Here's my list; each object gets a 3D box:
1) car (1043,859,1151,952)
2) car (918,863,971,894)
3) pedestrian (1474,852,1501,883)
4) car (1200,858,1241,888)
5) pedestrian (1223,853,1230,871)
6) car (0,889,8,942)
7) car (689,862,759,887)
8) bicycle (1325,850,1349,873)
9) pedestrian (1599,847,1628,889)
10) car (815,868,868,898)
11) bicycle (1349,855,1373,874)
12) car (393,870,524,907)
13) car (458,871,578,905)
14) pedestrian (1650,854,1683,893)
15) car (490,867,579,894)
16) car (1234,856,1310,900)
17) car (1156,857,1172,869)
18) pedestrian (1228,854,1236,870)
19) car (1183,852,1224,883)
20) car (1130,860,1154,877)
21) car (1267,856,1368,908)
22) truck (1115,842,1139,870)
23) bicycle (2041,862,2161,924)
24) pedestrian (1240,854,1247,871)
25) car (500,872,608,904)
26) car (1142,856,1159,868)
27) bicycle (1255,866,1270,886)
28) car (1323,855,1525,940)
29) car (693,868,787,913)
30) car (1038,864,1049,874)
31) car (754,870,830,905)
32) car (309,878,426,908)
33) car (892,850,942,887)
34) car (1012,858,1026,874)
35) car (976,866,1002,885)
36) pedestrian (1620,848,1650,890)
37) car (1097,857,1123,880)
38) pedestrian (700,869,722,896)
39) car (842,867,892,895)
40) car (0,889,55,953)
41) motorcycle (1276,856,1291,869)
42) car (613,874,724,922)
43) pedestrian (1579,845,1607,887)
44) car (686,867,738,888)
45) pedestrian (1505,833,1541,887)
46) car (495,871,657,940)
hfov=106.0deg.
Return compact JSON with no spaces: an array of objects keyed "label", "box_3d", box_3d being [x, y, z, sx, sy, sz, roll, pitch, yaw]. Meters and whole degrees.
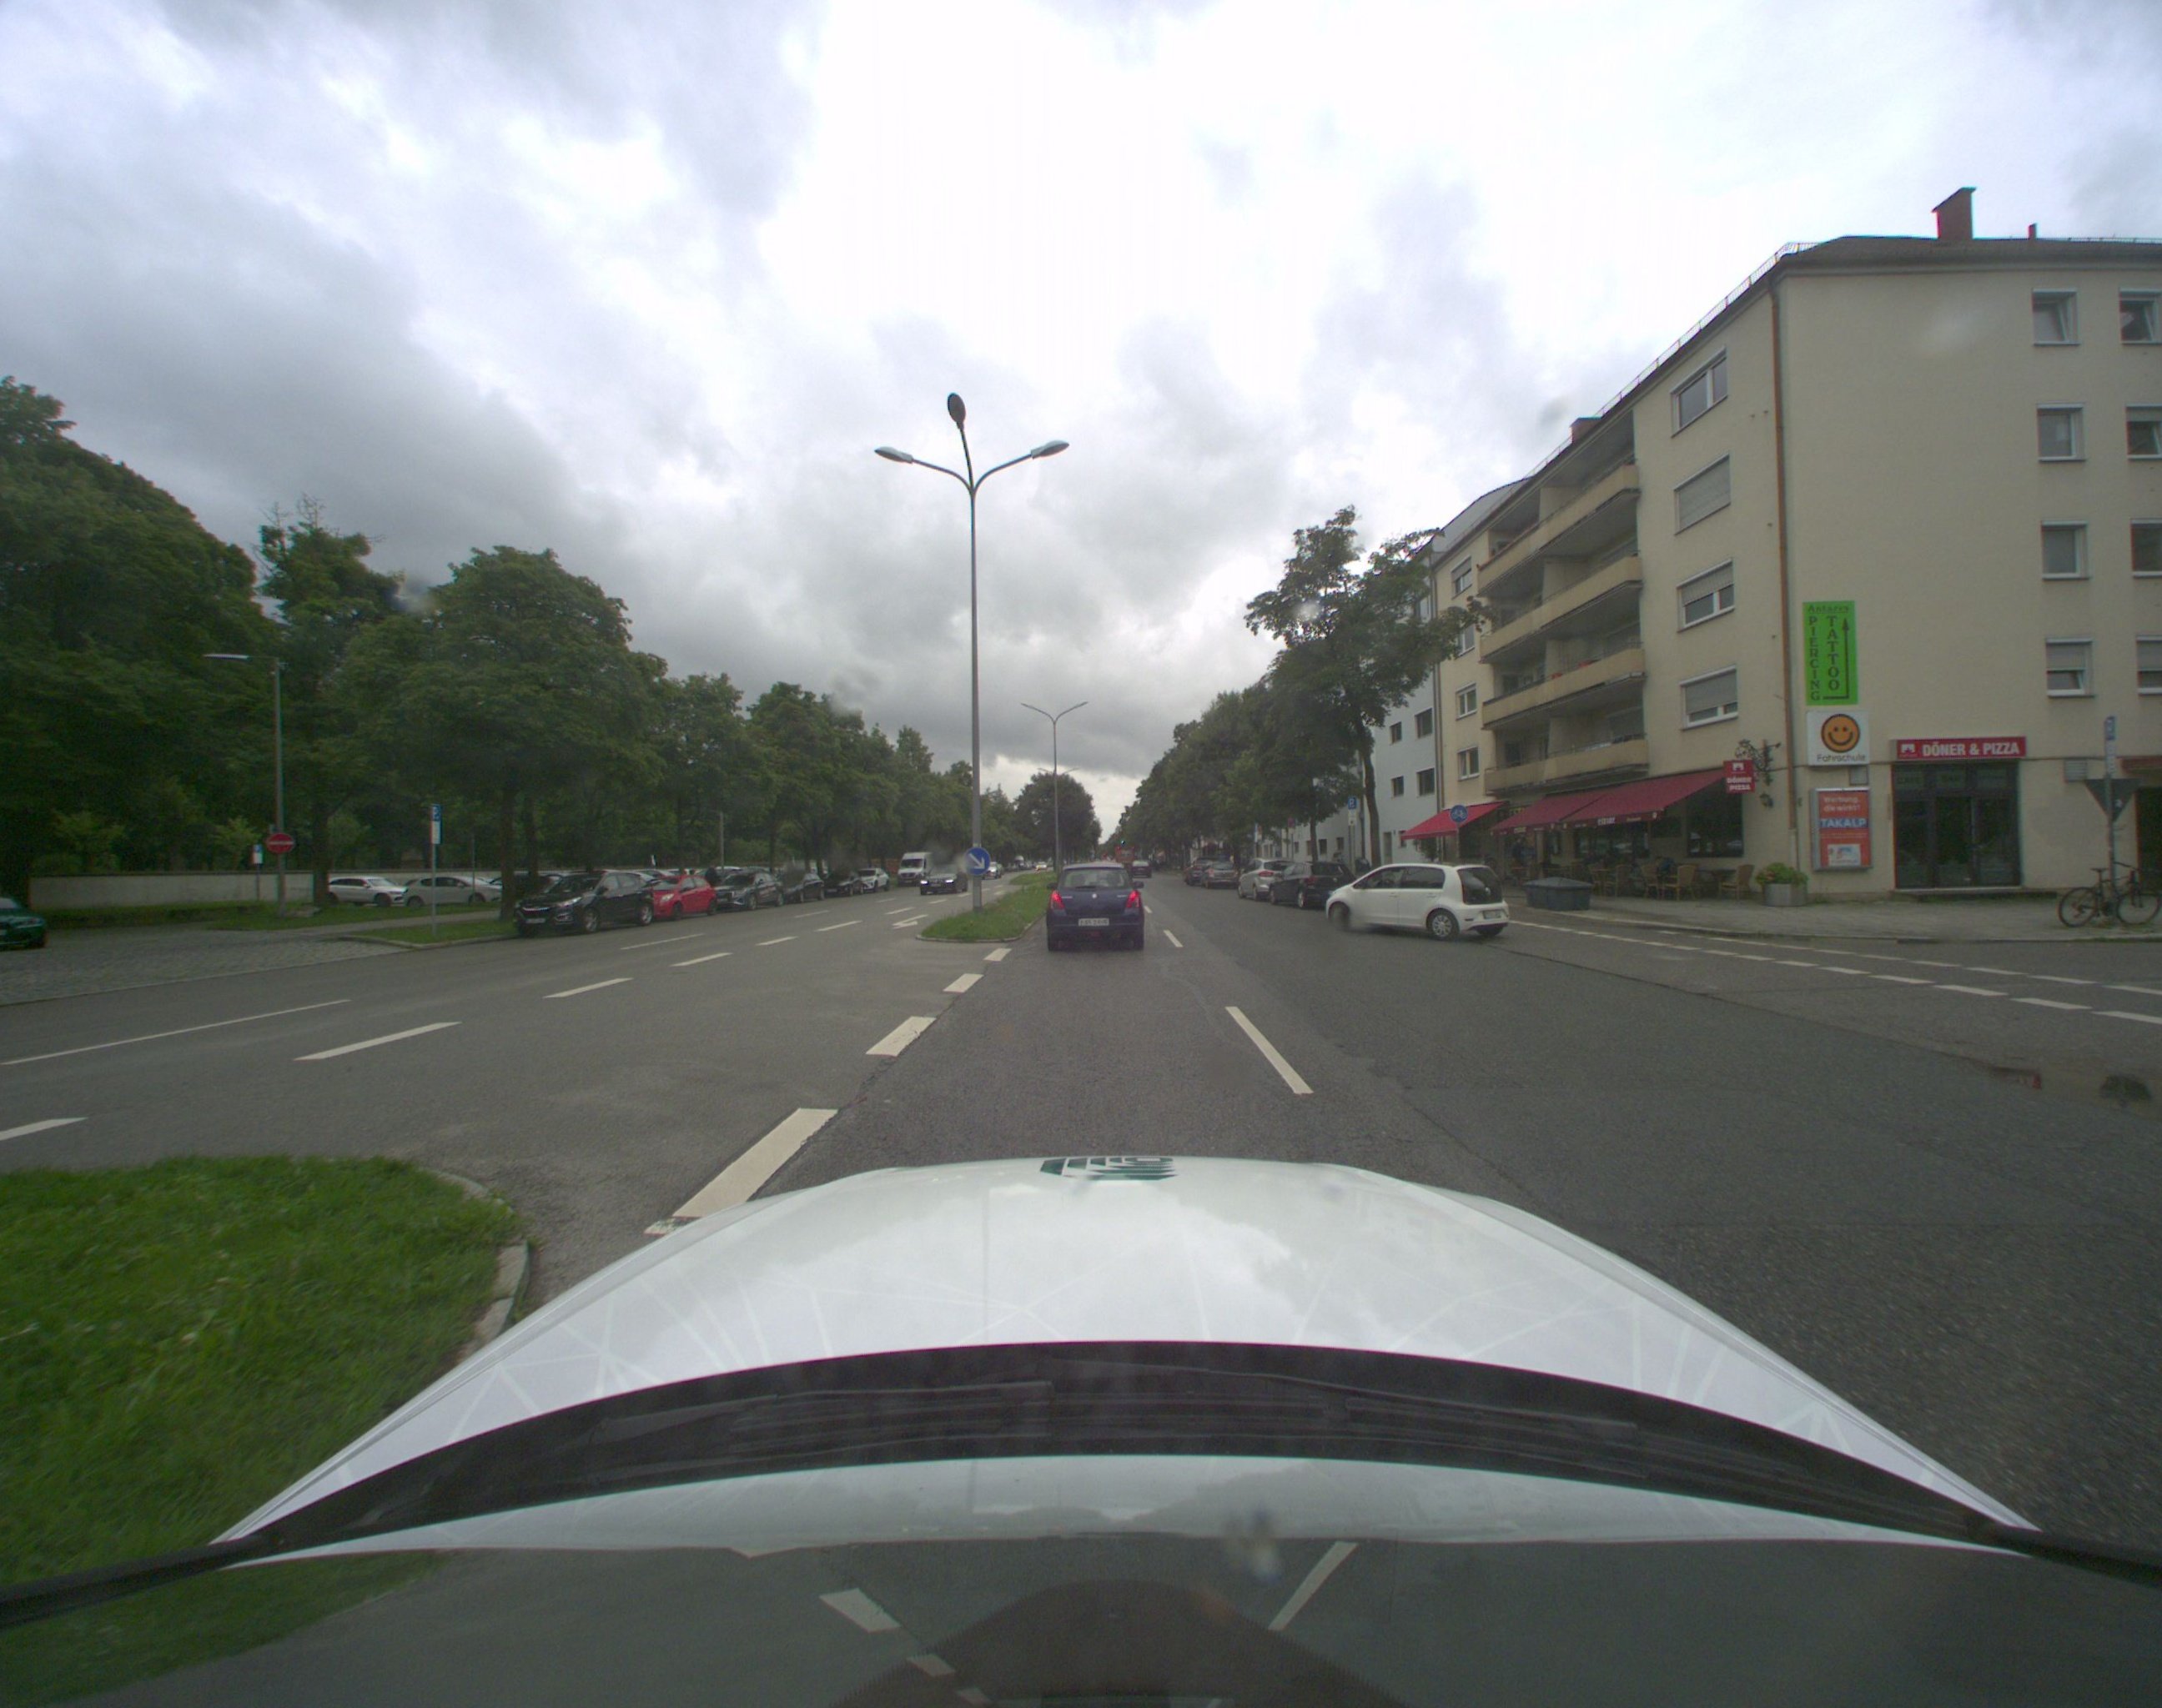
[{"label":"car","box_3d":[0.350,0.859,15.419,1.746,1.505,4.002,-1,0,2]},{"label":"car","box_3d":[-6.976,1.215,42.154,1.809,1.448,4.782,-2,0,1]},{"label":"pedestrian","box_3d":[15.929,0.525,31.941,0.741,1.163,0.647,-1,-1,1]},{"label":"car","box_3d":[7.421,0.997,43.598,1.821,1.522,3.775,-1,0,5]},{"label":"pedestrian","box_3d":[14.419,0.766,80.806,0.498,1.733,0.733,-1,-1,2]},{"label":"car","box_3d":[-31.367,1.701,22.375,4.411,1.409,1.871,-1,-1,32]},{"label":"car","box_3d":[-24.614,1.408,56.235,3.970,1.570,1.816,-2,-1,3]},{"label":"bicycle","box_3d":[16.464,0.461,52.389,0.700,1.407,2.594,-3,-1,2]},{"label":"pedestrian","box_3d":[16.336,0.414,25.001,0.536,1.268,0.487,-1,-1,0]},{"label":"car","box_3d":[-13.068,1.564,44.675,1.817,1.447,3.996,-3,0,-3]},{"label":"bicycle","box_3d":[16.445,0.611,47.874,0.619,1.046,2.196,-5,-1,2]},{"label":"car","box_3d":[-26.625,1.452,34.939,3.979,1.442,1.997,-1,0,-4]},{"label":"car","box_3d":[-26.157,1.557,37.962,4.123,1.442,1.999,-1,0,-1]},{"label":"pedestrian","box_3d":[16.131,0.529,22.453,0.536,1.054,0.487,-1,-1,1]},{"label":"car","box_3d":[-36.291,1.749,54.162,4.490,1.625,2.000,-1,-1,0]},{"label":"car","box_3d":[7.158,0.859,30.954,1.823,1.522,4.523,-1,0,0]},{"label":"car","box_3d":[11.780,1.328,116.245,1.986,1.643,4.334,-1,0,2]},{"label":"pedestrian","box_3d":[14.995,0.797,80.807,0.547,1.629,0.641,-3,-1,1]},{"label":"car","box_3d":[7.260,0.781,48.667,1.823,1.746,4.508,-1,0,0]},{"label":"car","box_3d":[5.284,1.236,71.130,1.815,1.477,4.692,1,0,1]},{"label":"car","box_3d":[7.305,0.816,25.541,1.825,1.473,3.883,-1,0,-3]},{"label":"truck","box_3d":[6.299,0.319,113.636,3.029,3.557,13.682,-1,0,2]},{"label":"bicycle","box_3d":[17.518,0.656,13.881,1.532,1.011,0.554,-1,-1,4]},{"label":"pedestrian","box_3d":[16.189,0.855,81.151,0.539,1.640,0.725,-1,-1,1]},{"label":"car","box_3d":[-26.131,1.681,40.520,3.979,1.442,1.997,-1,0,-4]},{"label":"car","box_3d":[9.244,1.082,108.693,1.986,1.452,4.002,-1,0,2]},{"label":"bicycle","box_3d":[9.271,1.114,41.636,0.384,0.947,1.675,-1,0,2]},{"label":"car","box_3d":[6.782,0.803,16.419,1.698,1.490,3.401,-1,-1,-31]},{"label":"car","box_3d":[-13.523,1.414,32.576,1.814,1.599,4.116,-2,-1,3]},{"label":"car","box_3d":[-6.616,2.663,144.333,1.756,1.537,4.312,-4,0,-1]},{"label":"car","box_3d":[-13.405,1.519,38.016,1.813,1.409,4.004,-3,-1,4]},{"label":"car","box_3d":[-38.322,2.101,43.817,4.490,1.442,2.000,-1,0,0]},{"label":"car","box_3d":[-12.721,1.079,63.807,2.132,2.643,7.108,-3,0,2]},{"label":"car","box_3d":[-11.874,2.287,156.397,2.179,2.954,6.189,-1,-1,-1]},{"label":"car","box_3d":[-8.920,2.047,79.246,1.844,1.600,4.404,-3,0,2]},{"label":"pedestrian","box_3d":[16.342,0.429,24.013,0.536,1.214,0.487,-1,-1,1]},{"label":"car","box_3d":[2.003,1.003,56.734,1.712,1.501,4.301,-1,0,1]},{"label":"pedestrian","box_3d":[-20.737,1.579,45.620,0.792,1.495,0.856,-2,-1,2]},{"label":"car","box_3d":[-13.058,1.621,49.888,1.815,1.528,4.298,-3,-1,0]},{"label":"car","box_3d":[-26.350,1.590,19.441,3.809,1.409,1.871,-1,-1,32]},{"label":"motorcycle","box_3d":[16.721,0.709,67.270,0.758,1.086,2.200,-2,0,2]},{"label":"car","box_3d":[-13.969,1.437,27.820,1.815,1.479,3.809,-1,-1,0]},{"label":"pedestrian","box_3d":[16.476,0.392,26.218,0.536,1.339,0.552,-1,-1,0]},{"label":"car","box_3d":[-38.995,2.498,86.091,4.490,2.034,2.000,-1,-1,0]},{"label":"pedestrian","box_3d":[16.266,0.221,29.991,0.869,1.929,0.757,-1,-1,-15]},{"label":"car","box_3d":[-13.842,1.342,22.643,1.815,1.700,4.239,-1,-1,0]}]
